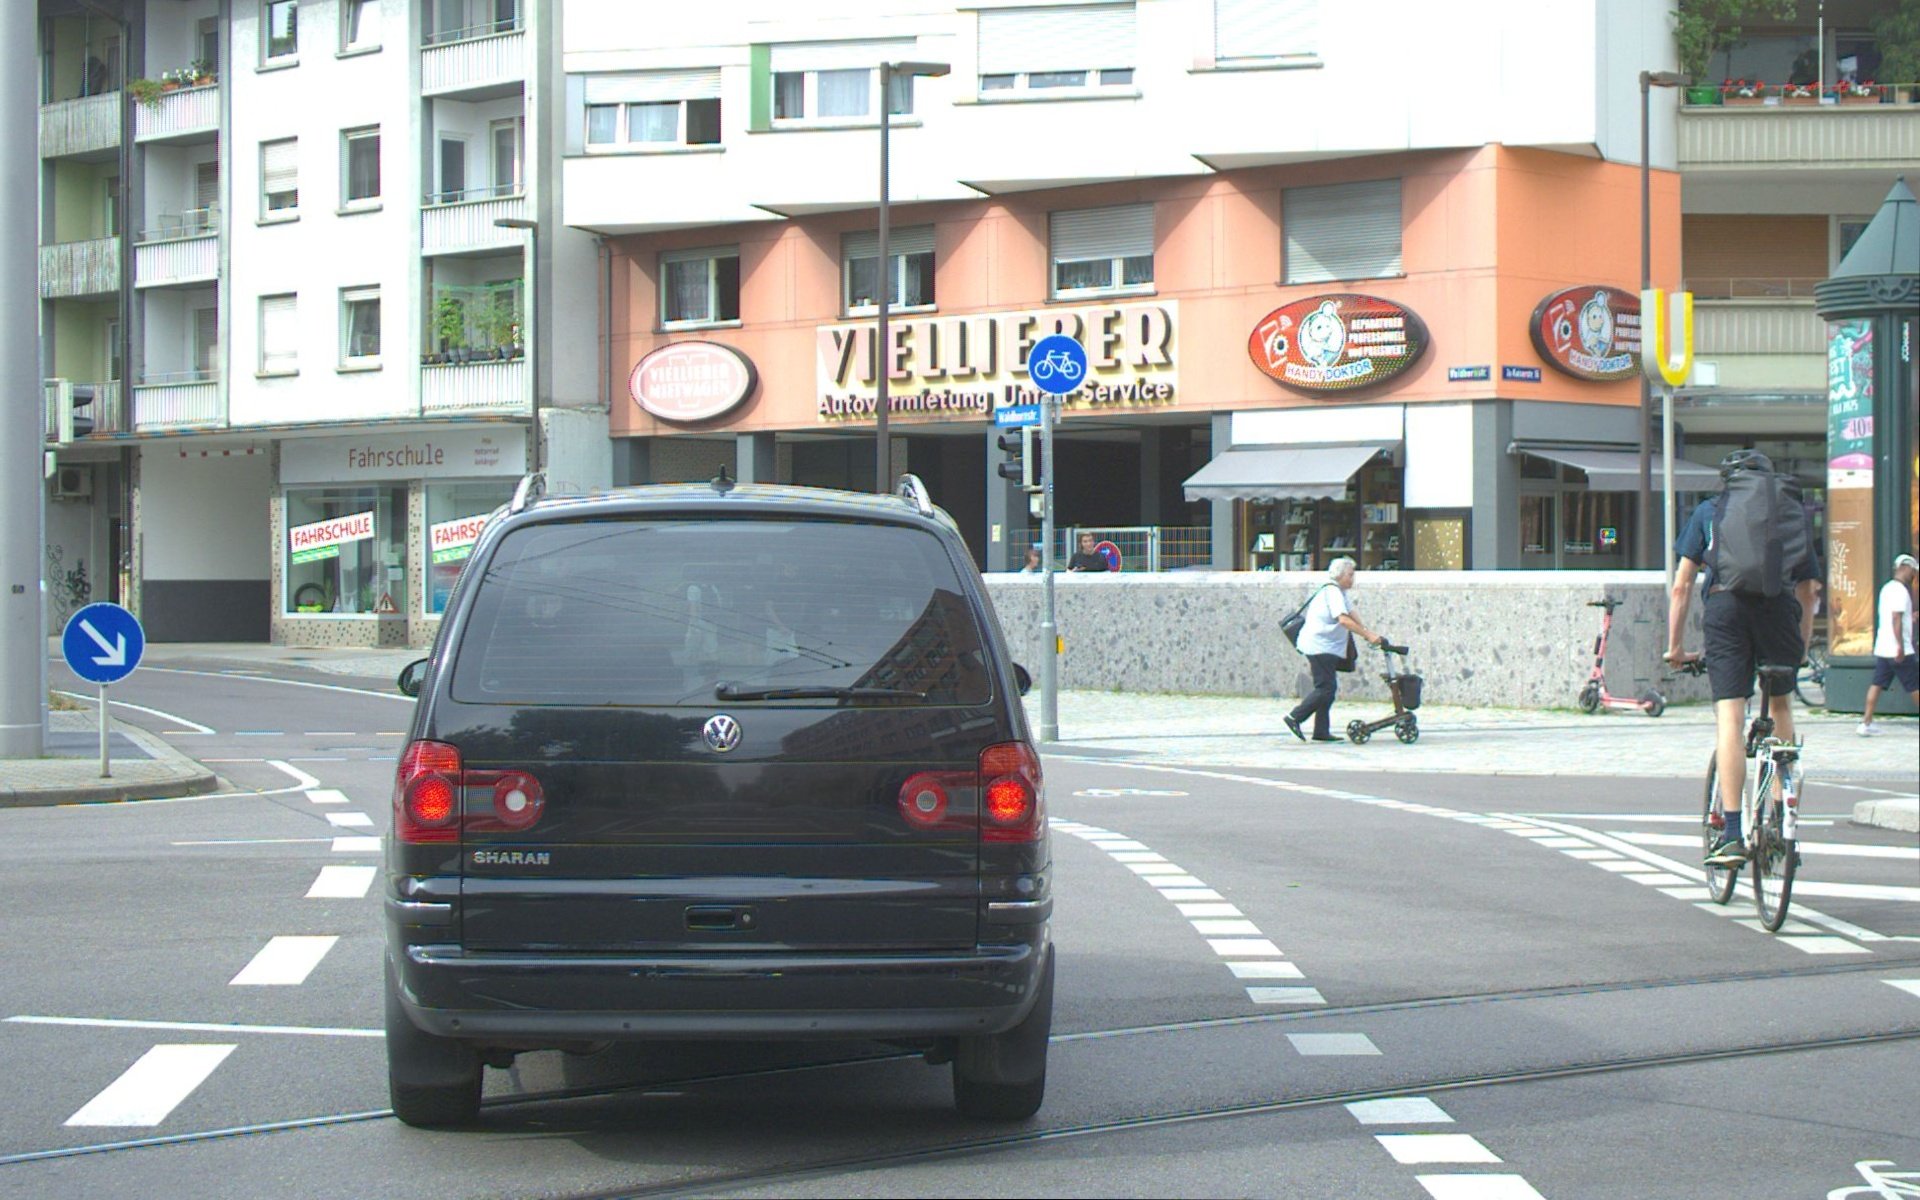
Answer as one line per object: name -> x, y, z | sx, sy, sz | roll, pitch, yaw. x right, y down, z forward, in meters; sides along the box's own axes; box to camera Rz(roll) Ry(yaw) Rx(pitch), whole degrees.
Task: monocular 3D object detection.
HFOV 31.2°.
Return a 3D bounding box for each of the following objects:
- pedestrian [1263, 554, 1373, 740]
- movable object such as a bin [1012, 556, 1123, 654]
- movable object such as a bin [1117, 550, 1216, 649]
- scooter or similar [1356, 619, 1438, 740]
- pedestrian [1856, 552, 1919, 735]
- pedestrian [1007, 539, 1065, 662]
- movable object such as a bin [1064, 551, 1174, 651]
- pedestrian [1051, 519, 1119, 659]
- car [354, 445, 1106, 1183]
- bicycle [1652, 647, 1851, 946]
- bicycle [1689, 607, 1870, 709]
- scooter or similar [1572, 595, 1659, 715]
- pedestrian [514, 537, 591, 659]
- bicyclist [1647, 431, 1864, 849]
pedestrian -> 3.396, 0.435, 32.561 | 0.935, 1.734, 0.685 | -1, 1, 13
movable object such as a bin -> 1.623, 0.065, 51.808 | 1.223, 1.455, 1.146 | 0, 0, 43
movable object such as a bin -> 3.213, -0.012, 53.566 | 1.167, 1.510, 1.003 | 0, 0, 43
scooter or similar -> 4.120, 0.745, 32.399 | 0.700, 1.106, 0.608 | -1, 1, 12
pedestrian -> 8.784, 0.396, 31.861 | 0.803, 1.674, 0.627 | 0, 0, 1
pedestrian -> 1.043, 0.003, 47.153 | 0.473, 1.667, 0.589 | -4, 3, -44
movable object such as a bin -> 2.439, 0.011, 52.712 | 1.196, 1.510, 1.194 | 0, 0, 43
pedestrian -> 1.740, -0.157, 47.661 | 0.672, 1.896, 0.589 | -4, 3, -45
car -> -0.768, 0.490, 10.159 | 1.812, 1.760, 3.739 | 0, 1, -7
bicycle -> 3.327, 0.792, 14.577 | 0.390, 1.118, 1.920 | 0, 1, 0
bicycle -> 8.623, 0.596, 36.104 | 2.442, 1.010, 0.544 | -1, 0, -41
scooter or similar -> 6.732, 0.558, 35.337 | 0.285, 1.208, 1.126 | 0, 0, -24
pedestrian -> -6.306, -0.038, 53.240 | 0.656, 1.846, 0.971 | -4, 2, -42
bicyclist -> 3.338, 0.160, 14.483 | 0.697, 1.703, 0.908 | 0, 0, 0
